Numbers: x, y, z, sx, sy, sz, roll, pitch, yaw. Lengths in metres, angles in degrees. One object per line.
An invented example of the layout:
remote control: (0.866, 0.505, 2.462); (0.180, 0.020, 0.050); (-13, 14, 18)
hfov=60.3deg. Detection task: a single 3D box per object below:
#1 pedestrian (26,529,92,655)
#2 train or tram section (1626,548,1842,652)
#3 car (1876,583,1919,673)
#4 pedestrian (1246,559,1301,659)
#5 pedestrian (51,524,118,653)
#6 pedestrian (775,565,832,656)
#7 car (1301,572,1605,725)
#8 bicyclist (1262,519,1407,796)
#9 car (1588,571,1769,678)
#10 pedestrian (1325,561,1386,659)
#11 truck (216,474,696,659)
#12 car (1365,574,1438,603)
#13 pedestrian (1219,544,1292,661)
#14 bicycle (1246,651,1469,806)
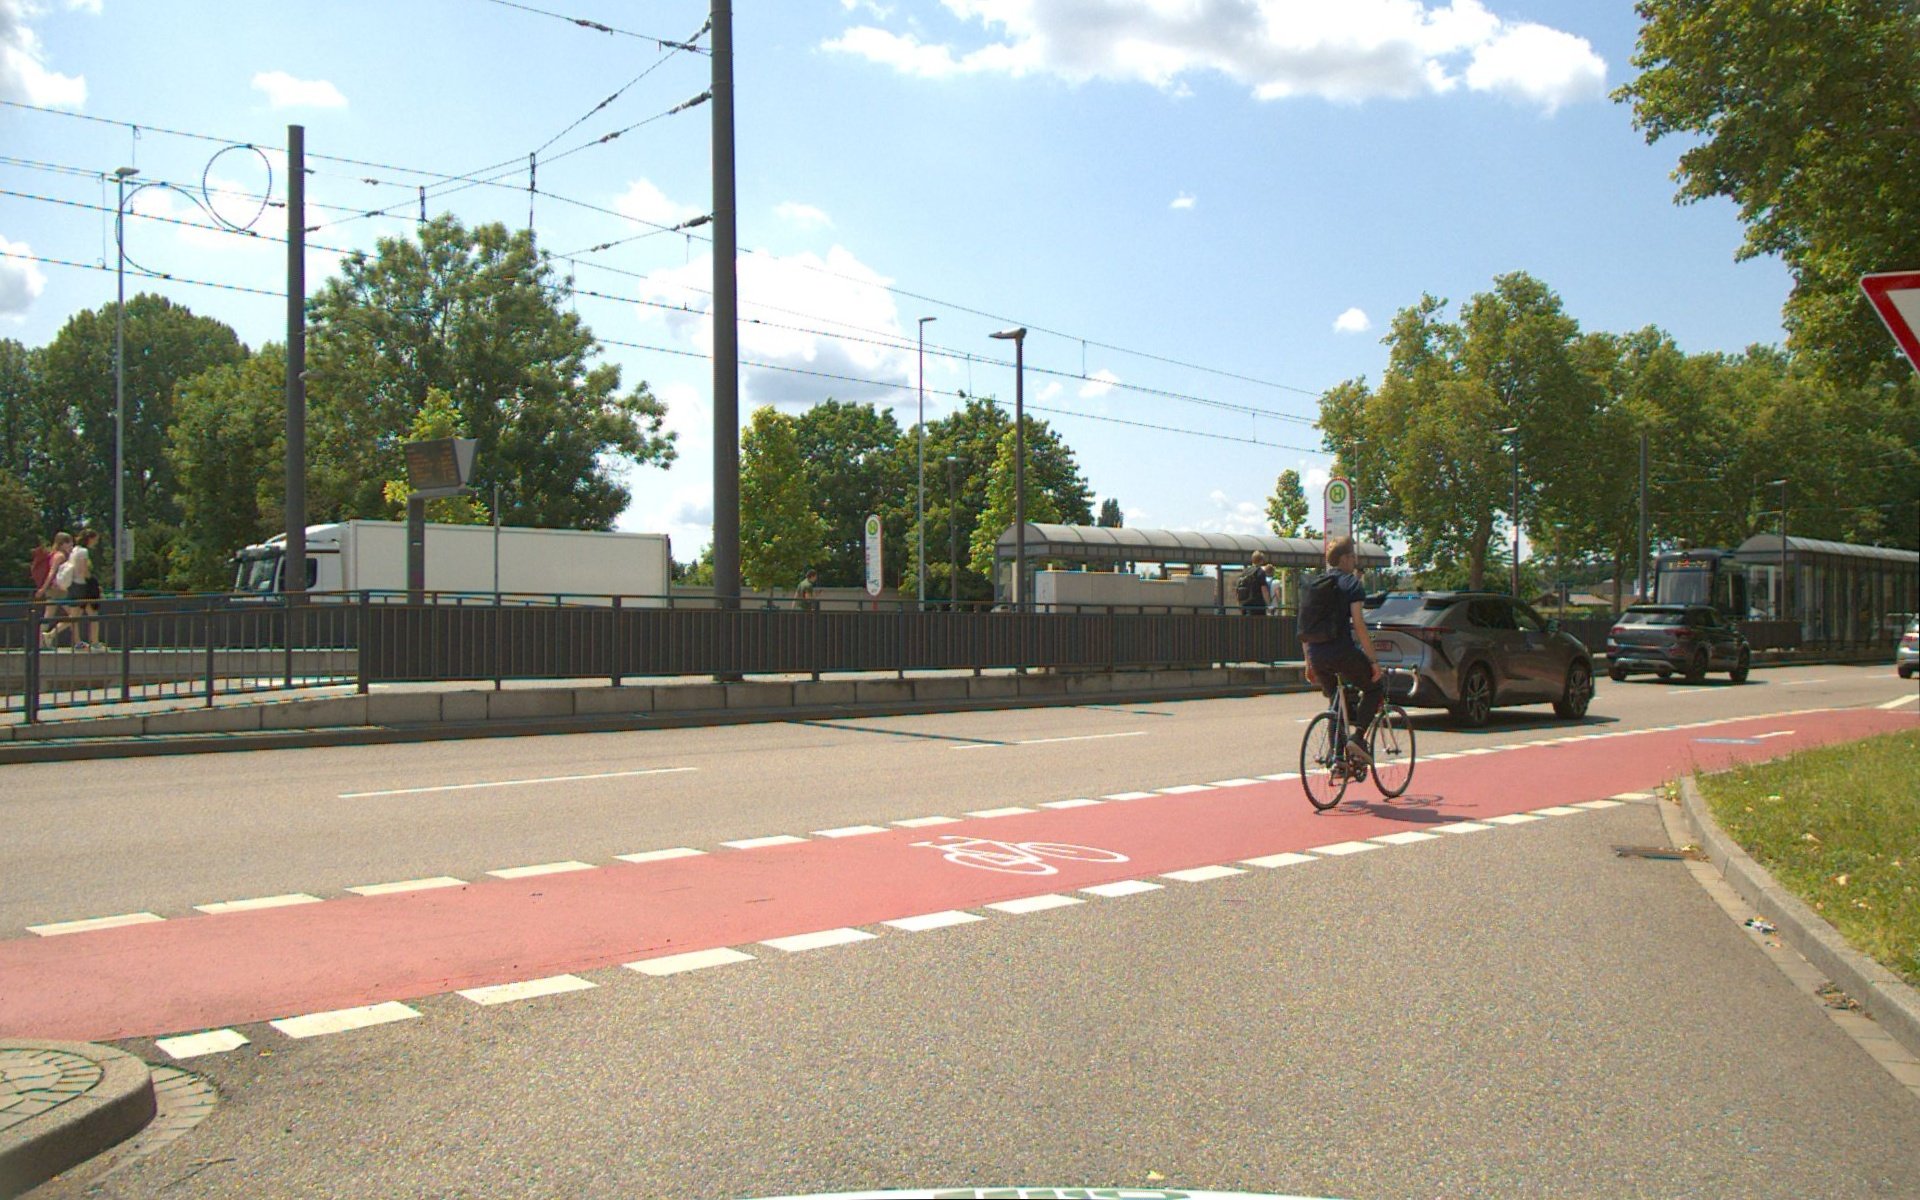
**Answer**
pedestrian: (-12.851, -0.118, 23.598); (0.702, 1.751, 0.592); (-1, 1, -42)
train or tram section: (27.425, 0.079, 58.046); (2.993, 3.242, 14.015); (-1, -1, 42)
car: (23.077, 0.616, 38.532); (1.967, 2.024, 4.332); (0, 0, 44)
pedestrian: (6.021, 0.159, 31.784); (0.858, 1.904, 0.674); (0, 0, -14)
pedestrian: (-12.244, -0.164, 23.136); (0.672, 1.778, 0.627); (1, 1, -42)
pedestrian: (-3.224, 0.208, 34.080); (0.724, 1.839, 0.923); (0, 0, 45)
car: (6.291, 0.531, 20.823); (1.871, 1.704, 4.489); (0, 0, 43)
bicyclist: (2.670, 0.387, 11.759); (0.601, 1.878, 0.917); (1, 0, 45)
car: (14.756, 0.479, 33.850); (1.967, 2.024, 4.332); (2, 1, 44)
pedestrian: (7.284, 0.181, 30.469); (0.724, 1.786, 0.923); (0, 0, 45)
truck: (-12.550, -0.744, 42.670); (11.907, 4.176, 2.904); (0, 0, -45)
car: (26.541, -0.691, 99.499); (1.895, 1.691, 3.864); (-1, 1, -44)
pedestrian: (5.105, 0.038, 28.562); (0.861, 1.973, 0.988); (0, 1, 44)
bicycle: (2.925, 0.894, 12.028); (0.612, 1.016, 2.009); (2, 0, 45)
